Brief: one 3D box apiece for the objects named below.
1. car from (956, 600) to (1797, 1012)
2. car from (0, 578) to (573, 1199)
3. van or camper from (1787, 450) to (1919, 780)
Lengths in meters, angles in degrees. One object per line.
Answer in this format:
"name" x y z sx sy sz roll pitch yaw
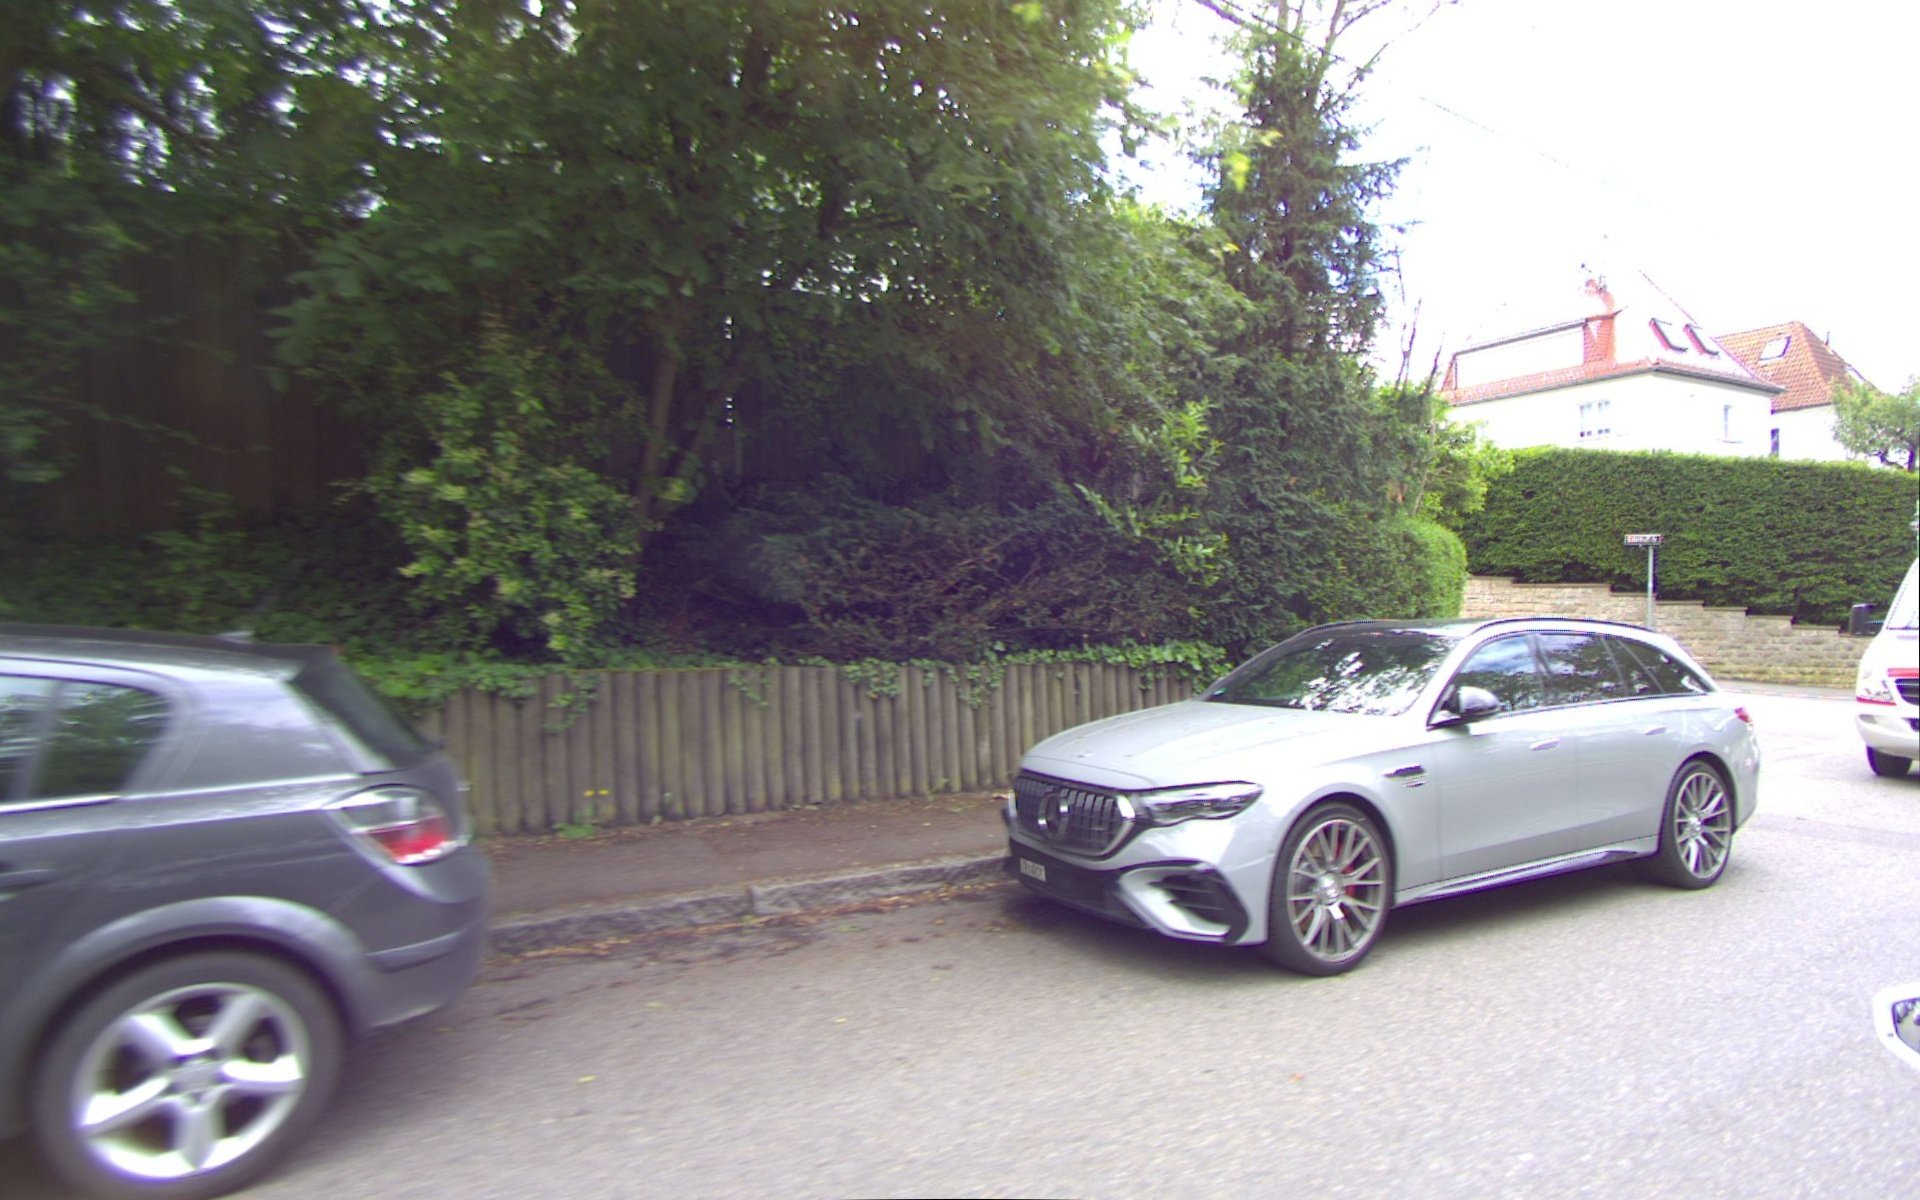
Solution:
"car" 2.502 0.823 5.689 4.803 1.524 1.791 1 -2 -29
"car" -3.284 0.733 2.650 4.013 1.524 1.712 1 -2 -31
"van or camper" 11.695 0.155 10.566 7.085 2.933 2.444 0 -1 -31
